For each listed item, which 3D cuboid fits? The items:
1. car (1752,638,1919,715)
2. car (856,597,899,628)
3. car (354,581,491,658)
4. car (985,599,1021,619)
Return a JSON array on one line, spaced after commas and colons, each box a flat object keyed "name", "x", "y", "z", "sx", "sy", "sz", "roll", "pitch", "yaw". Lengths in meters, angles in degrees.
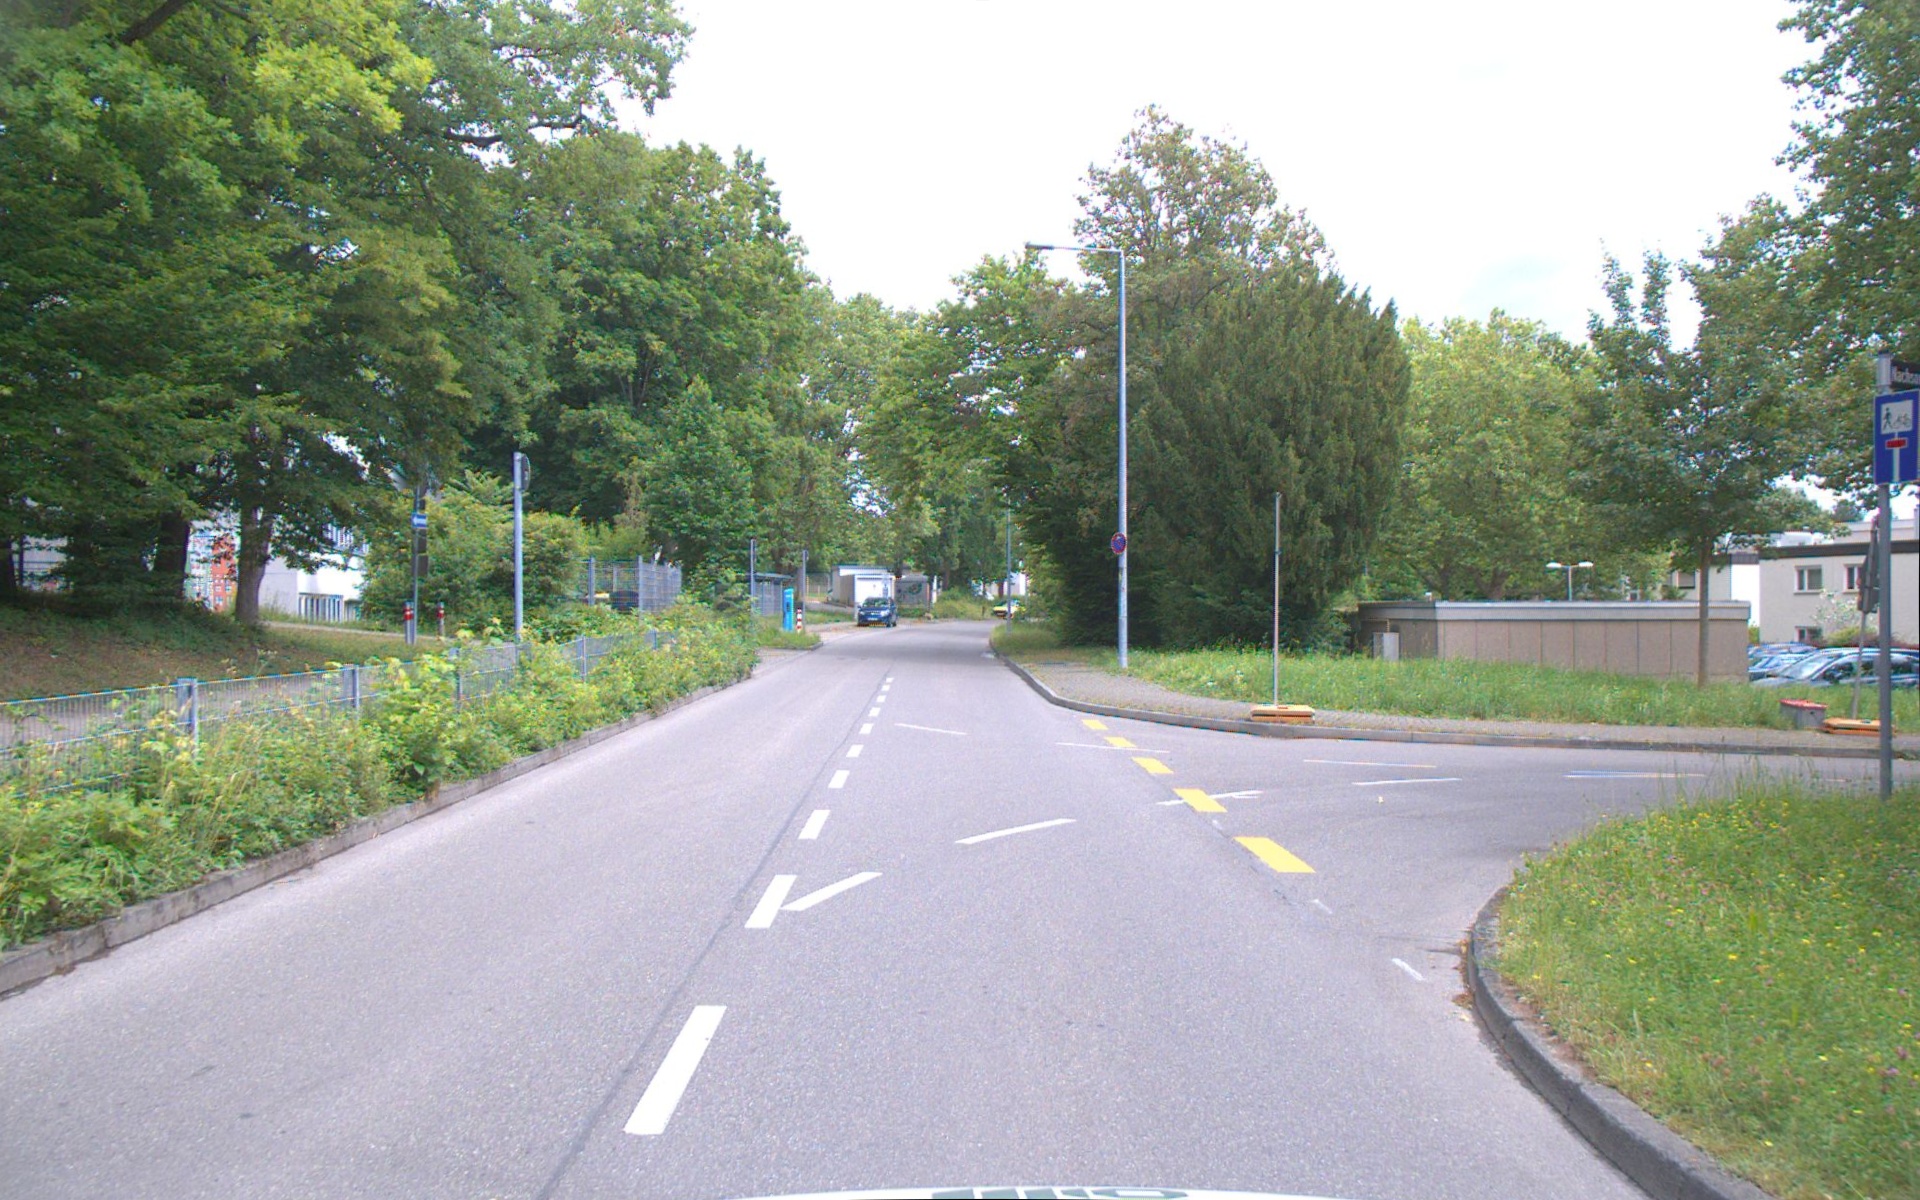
[{"name": "car", "x": 17.710, "y": 1.500, "z": 32.399, "sx": 3.488, "sy": 1.338, "sz": 1.810, "roll": 2, "pitch": 0, "yaw": -2}, {"name": "car", "x": -4.277, "y": 0.621, "z": 86.024, "sx": 1.644, "sy": 1.538, "sz": 4.433, "roll": 1, "pitch": 0, "yaw": 4}, {"name": "car", "x": -14.951, "y": 0.524, "z": 46.221, "sx": 1.951, "sy": 2.049, "sz": 4.003, "roll": 0, "pitch": 0, "yaw": 11}, {"name": "car", "x": 3.213, "y": 0.660, "z": 123.535, "sx": 1.664, "sy": 1.427, "sz": 4.276, "roll": 2, "pitch": 0, "yaw": 15}]
